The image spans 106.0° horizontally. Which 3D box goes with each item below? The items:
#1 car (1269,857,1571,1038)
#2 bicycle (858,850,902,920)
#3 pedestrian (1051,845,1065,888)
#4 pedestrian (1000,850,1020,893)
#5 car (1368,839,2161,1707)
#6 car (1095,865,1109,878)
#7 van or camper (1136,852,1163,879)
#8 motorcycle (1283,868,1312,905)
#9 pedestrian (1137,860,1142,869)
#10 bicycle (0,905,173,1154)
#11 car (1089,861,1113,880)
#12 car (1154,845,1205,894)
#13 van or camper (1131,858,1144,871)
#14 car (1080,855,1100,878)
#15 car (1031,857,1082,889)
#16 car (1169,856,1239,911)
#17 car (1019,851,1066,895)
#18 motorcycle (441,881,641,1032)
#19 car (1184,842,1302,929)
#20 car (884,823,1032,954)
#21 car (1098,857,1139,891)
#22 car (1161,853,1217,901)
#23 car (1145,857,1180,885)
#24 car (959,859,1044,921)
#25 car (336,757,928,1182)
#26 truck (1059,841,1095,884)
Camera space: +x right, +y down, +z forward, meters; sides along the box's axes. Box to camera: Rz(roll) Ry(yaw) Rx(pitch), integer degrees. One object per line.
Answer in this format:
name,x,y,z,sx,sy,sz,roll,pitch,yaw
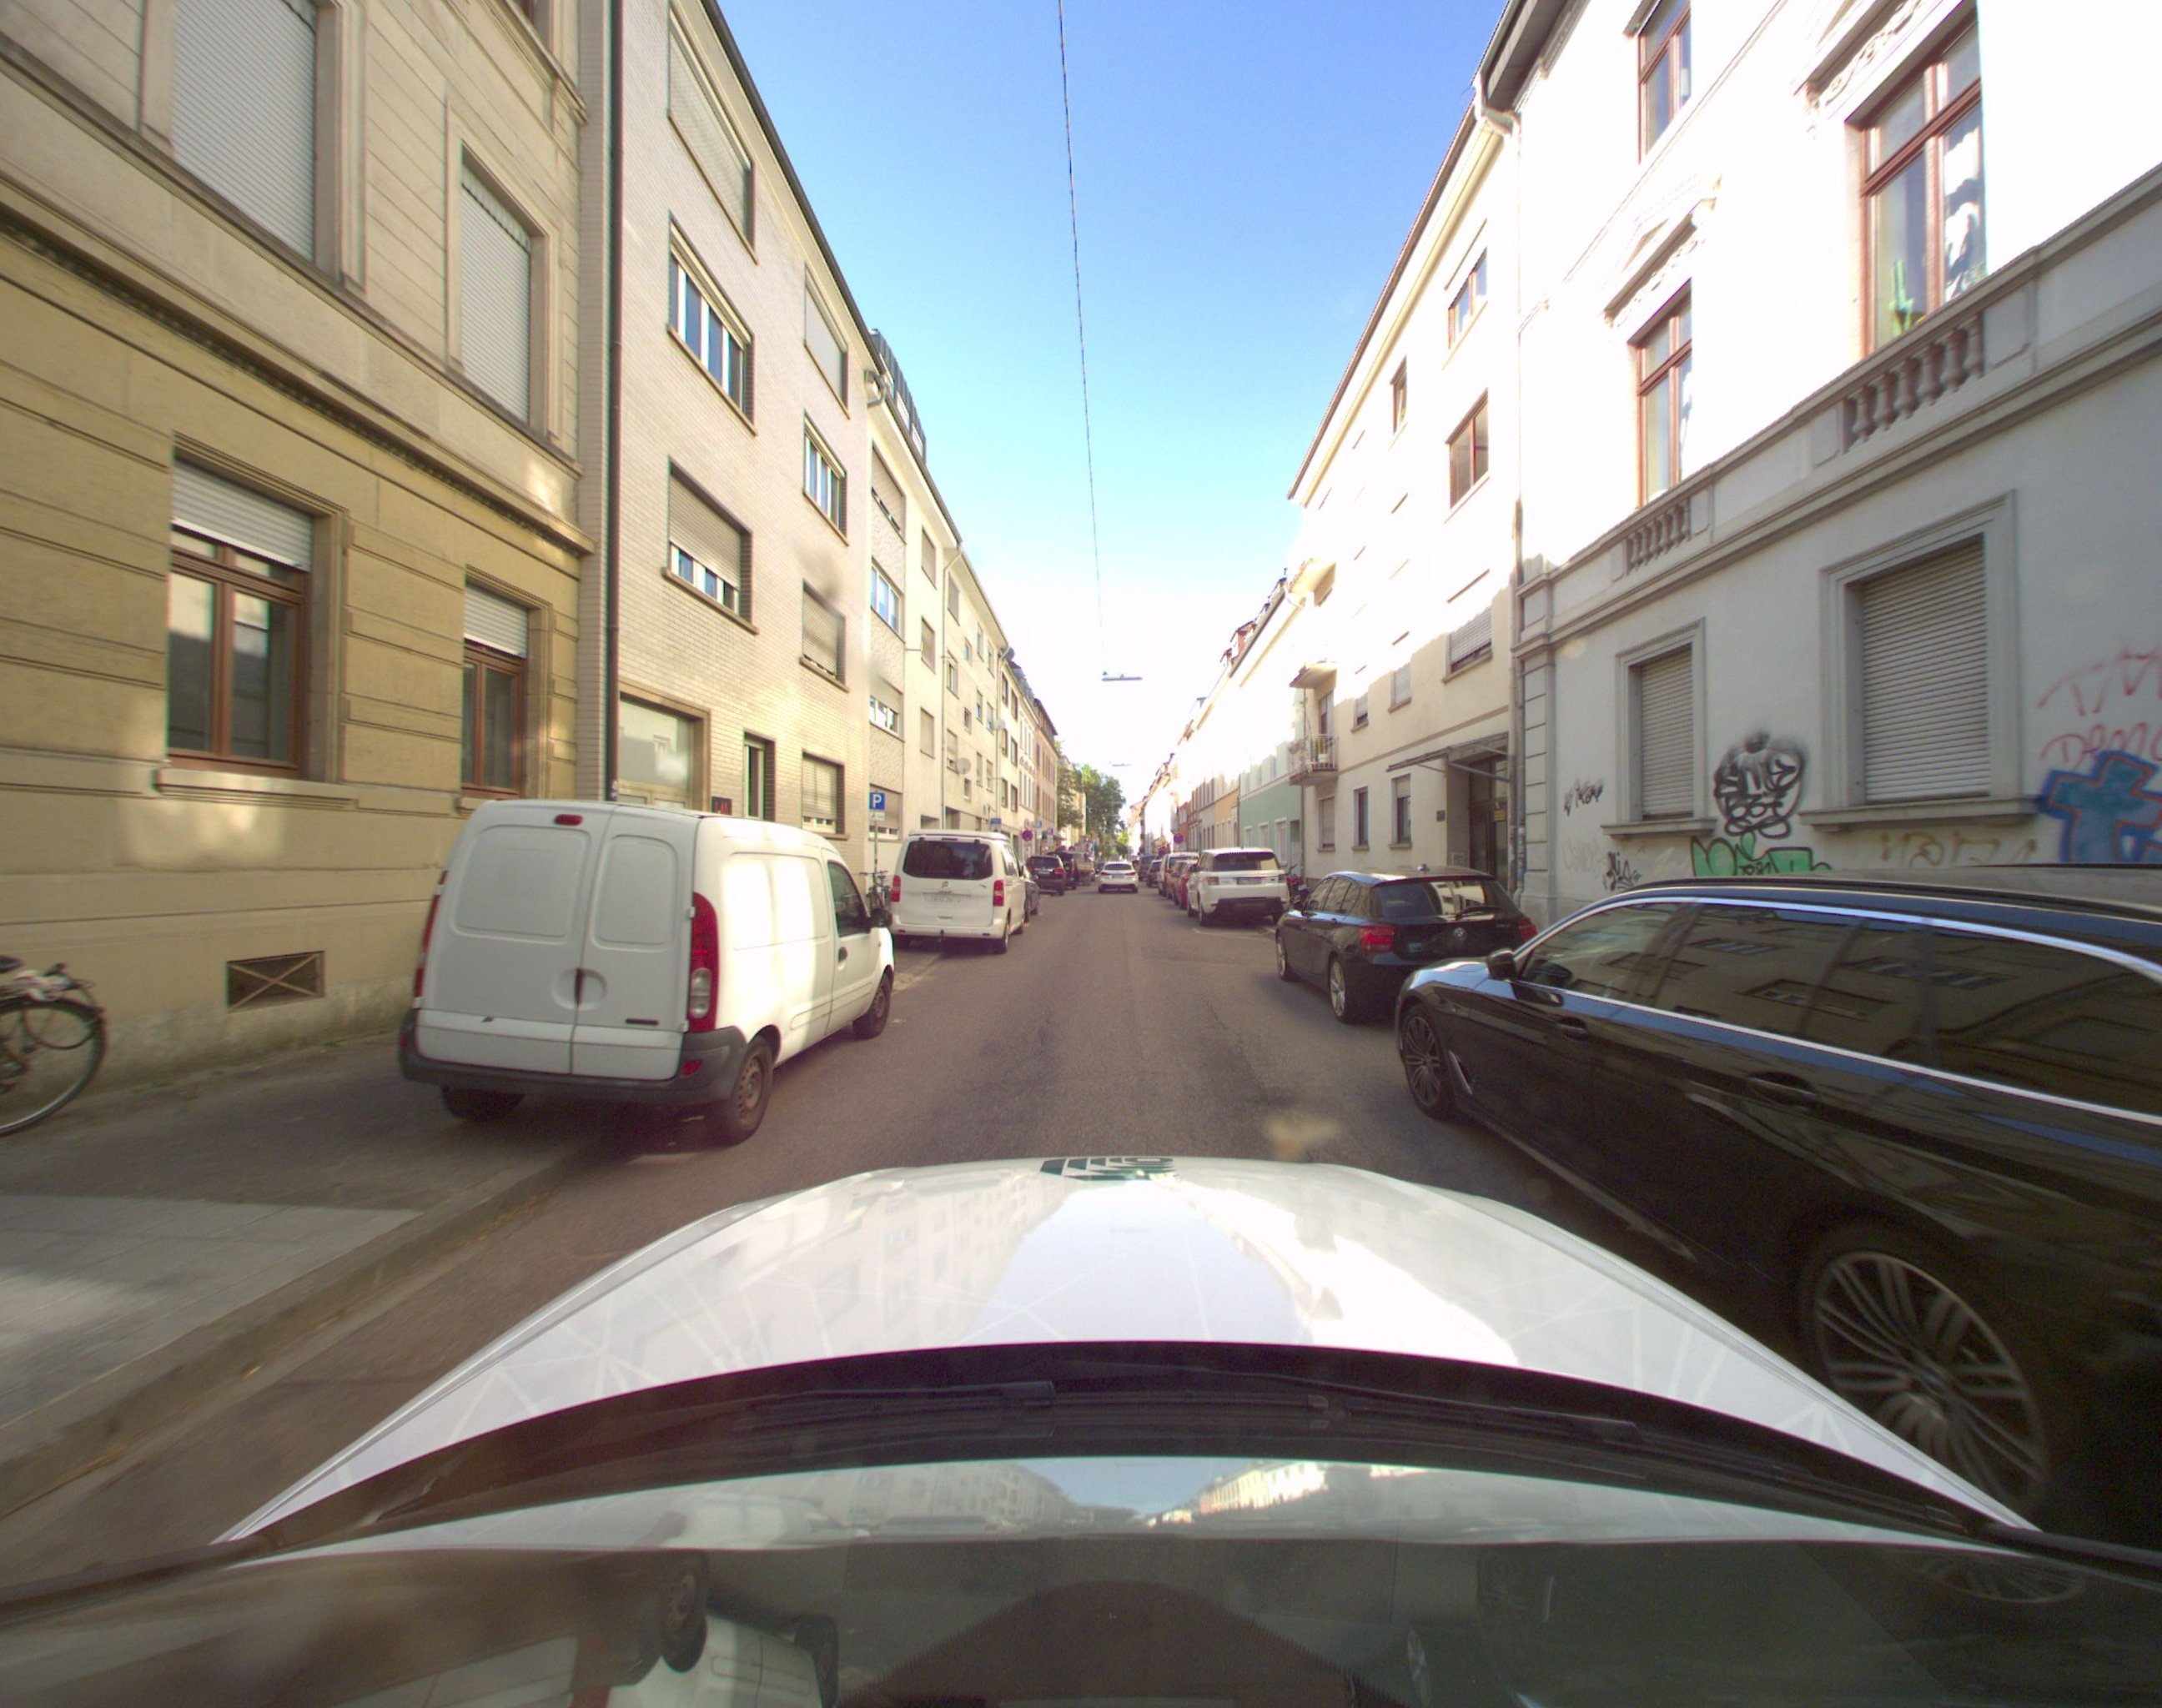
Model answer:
car,3.279,0.785,8.738,1.740,1.448,3.872,1,0,2
bicycle,-4.562,0.684,18.606,0.555,1.509,1.799,1,-1,-1
pedestrian,-1.199,0.679,42.748,0.616,2.229,0.688,-1,-2,2
pedestrian,-3.187,0.788,36.678,0.803,1.934,0.691,-1,-1,2
car,2.787,0.754,3.188,1.808,1.519,4.730,1,0,2
car,2.742,2.250,105.076,1.618,1.597,3.582,0,-1,3
van or camper,5.438,0.912,65.276,1.769,2.036,4.570,-2,-1,0
motorcycle,6.439,0.945,24.259,0.478,1.046,1.692,0,0,2
pedestrian,9.284,1.707,129.375,0.625,1.464,0.575,-1,-2,2
bicycle,-5.272,0.840,3.757,0.431,1.125,1.509,0,0,2
car,1.566,1.288,64.095,1.752,1.416,4.001,-2,-1,1
car,4.167,0.667,35.136,1.775,1.962,4.337,0,-1,1
van or camper,8.816,1.727,128.065,1.985,1.926,4.002,-1,-2,3
car,0.744,1.021,69.049,1.642,1.868,3.999,0,-1,0
car,-1.306,1.009,45.231,2.431,1.706,5.245,0,0,2
car,3.774,0.851,25.630,1.735,1.569,4.034,0,0,2
car,-1.635,0.787,36.264,1.874,1.755,4.541,3,0,-1
motorcycle,-5.039,0.882,7.797,0.431,1.185,2.122,0,0,2
car,3.632,0.643,19.190,1.997,1.783,4.941,0,0,2
car,-2.035,0.526,14.931,1.888,1.958,4.781,2,0,0
car,1.786,0.913,38.145,1.826,1.486,4.060,-1,-1,3
car,3.970,0.811,30.410,1.575,1.632,3.681,1,0,0
car,4.723,0.956,47.673,1.732,1.577,4.380,0,0,2
car,-1.979,0.861,21.402,1.700,1.450,4.302,0,-1,1
car,-2.480,0.528,5.836,1.737,1.876,4.092,3,0,2
truck,-0.324,0.625,52.957,2.151,2.590,6.243,-1,-2,-2
